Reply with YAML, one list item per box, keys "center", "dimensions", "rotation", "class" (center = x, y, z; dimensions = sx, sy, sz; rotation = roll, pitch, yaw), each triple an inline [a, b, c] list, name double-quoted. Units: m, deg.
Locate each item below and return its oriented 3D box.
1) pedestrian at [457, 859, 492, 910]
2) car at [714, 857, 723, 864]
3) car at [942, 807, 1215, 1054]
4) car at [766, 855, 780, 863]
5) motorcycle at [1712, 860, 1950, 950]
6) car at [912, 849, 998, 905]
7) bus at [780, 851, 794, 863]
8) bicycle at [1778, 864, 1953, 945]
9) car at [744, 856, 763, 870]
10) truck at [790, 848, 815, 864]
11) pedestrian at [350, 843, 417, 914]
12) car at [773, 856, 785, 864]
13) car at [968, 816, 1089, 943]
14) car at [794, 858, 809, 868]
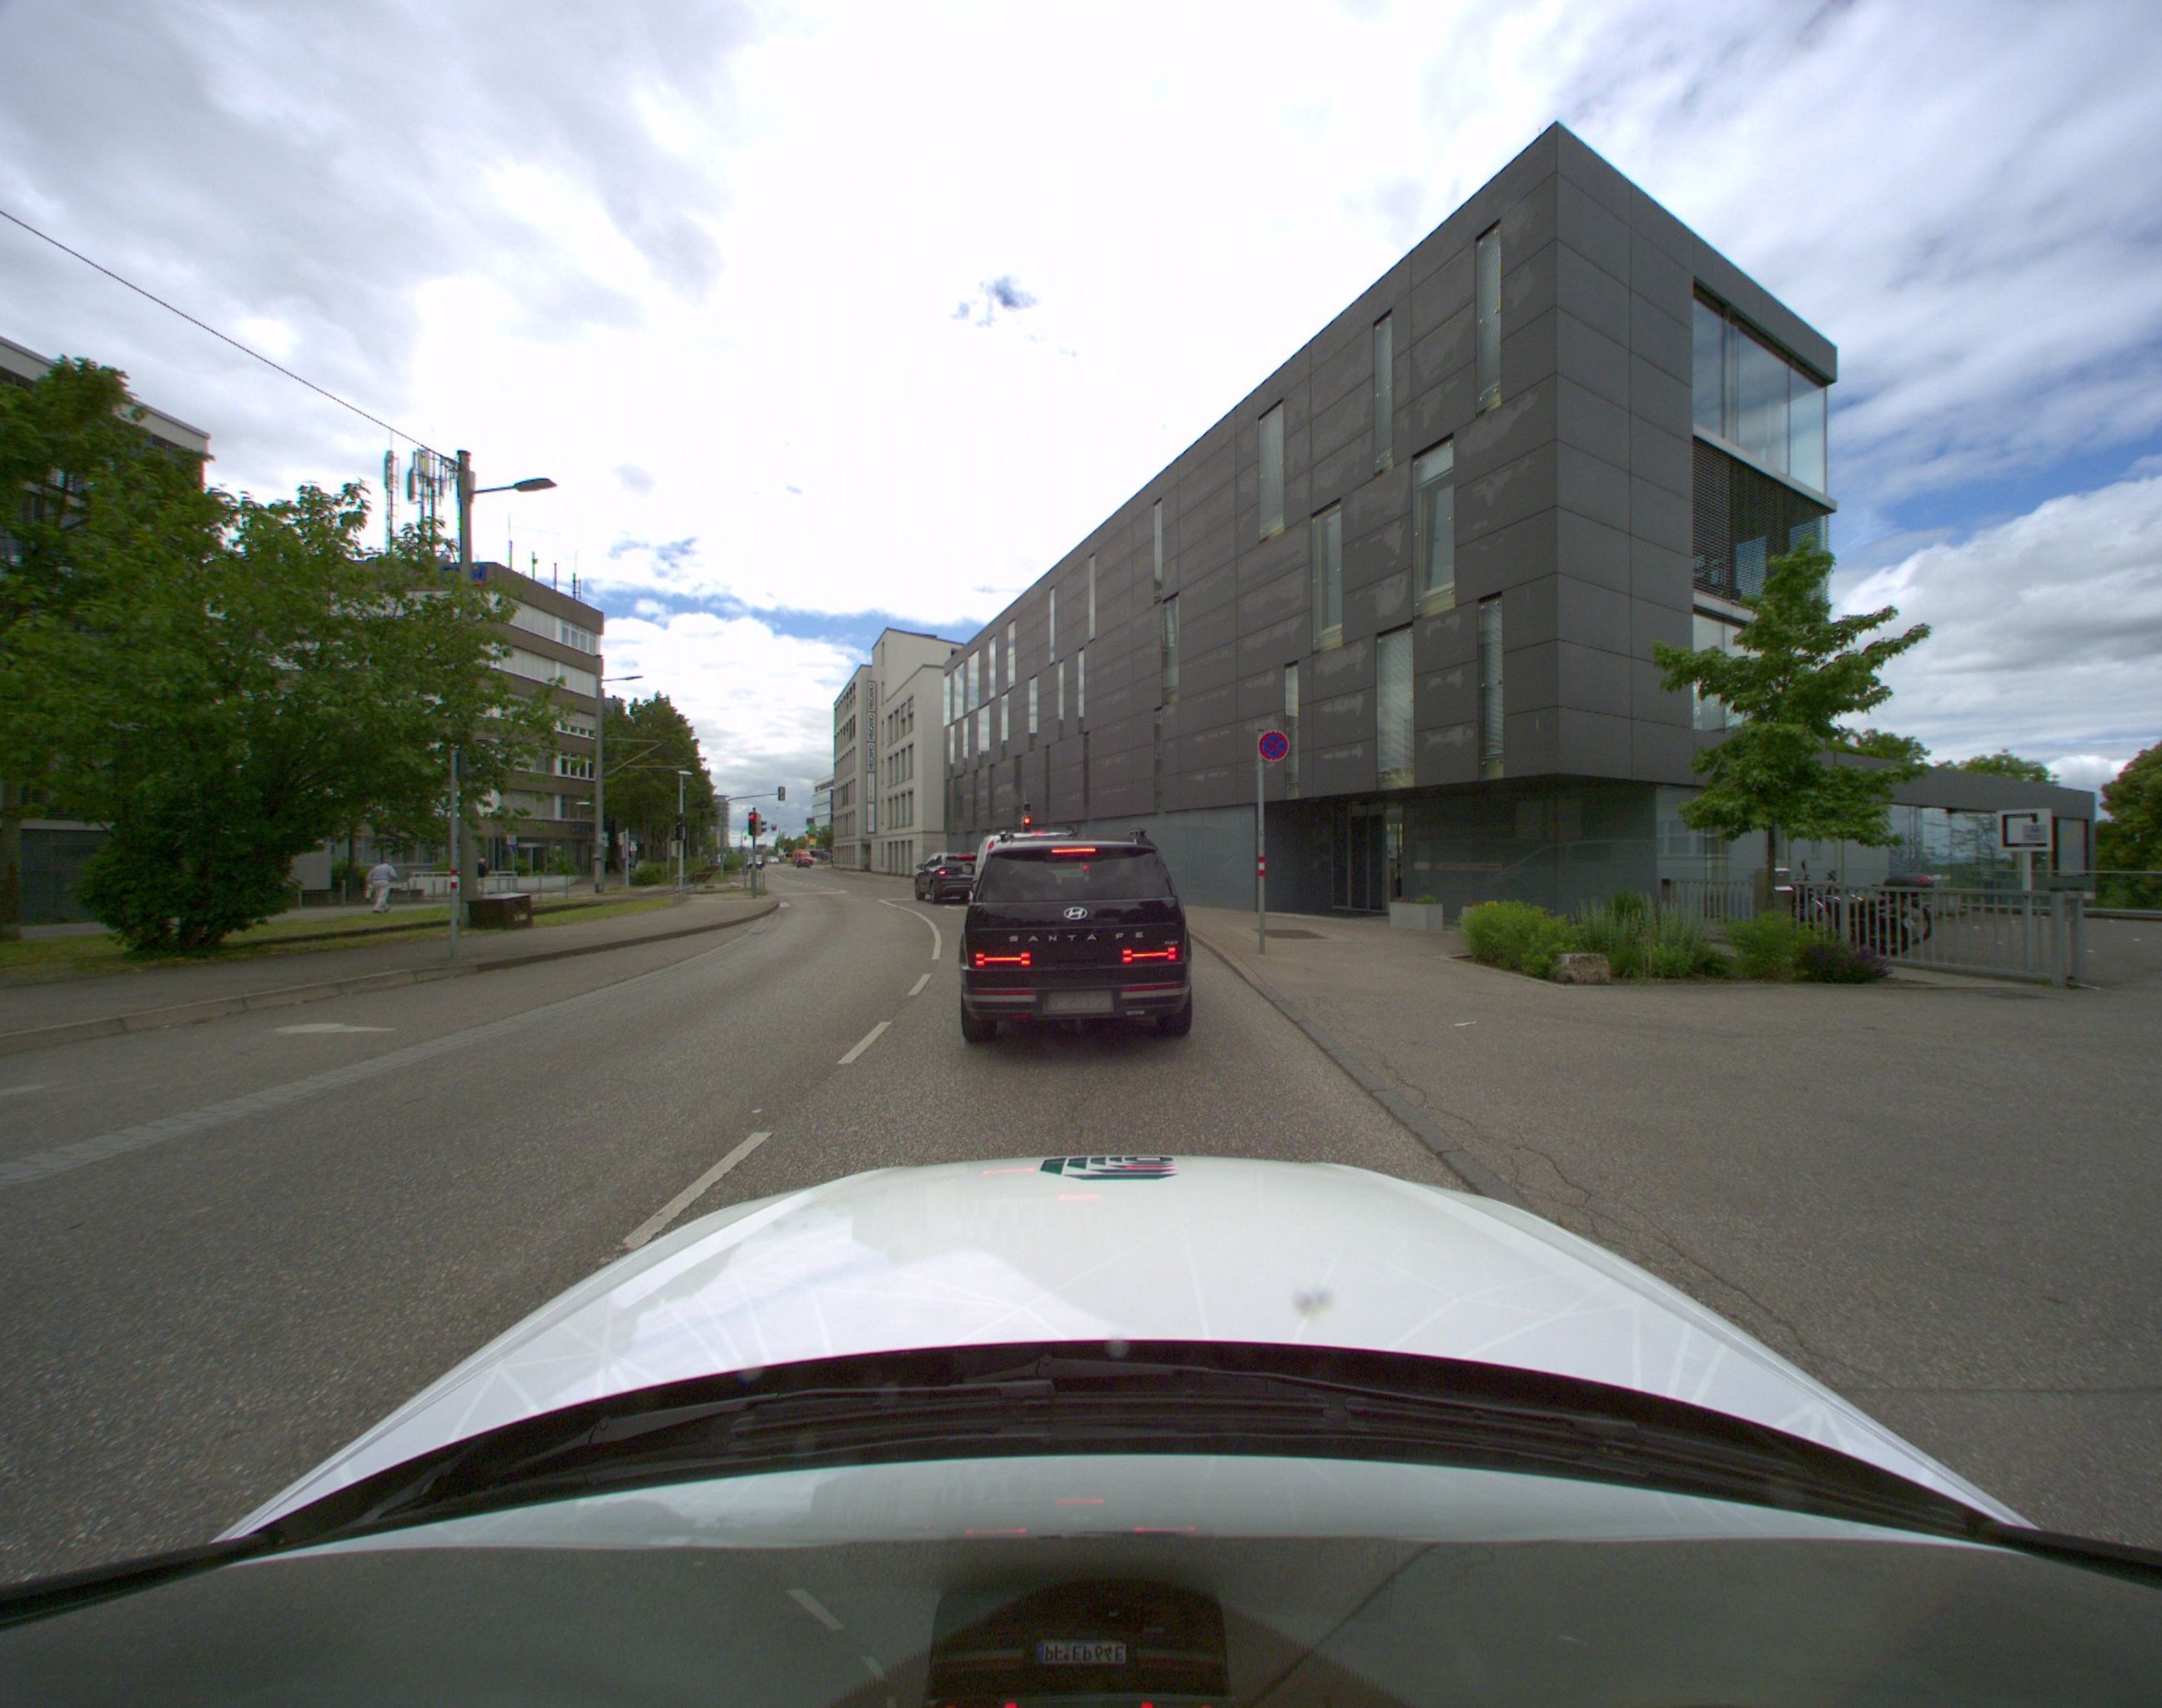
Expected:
- center: [-24.643, 1.218, 33.096]
  dimensions: [0.768, 2.014, 0.885]
  rotation: [3, -1, -17]
  class: "pedestrian"
- center: [-97.643, 1.758, 219.332]
  dimensions: [1.927, 1.725, 4.131]
  rotation: [1, 0, -30]
  class: "car"
- center: [-0.050, 0.552, 7.908]
  dimensions: [1.910, 1.725, 4.168]
  rotation: [1, 0, -1]
  class: "car"
- center: [-63.200, 1.021, 167.066]
  dimensions: [1.927, 1.725, 4.131]
  rotation: [1, 0, -30]
  class: "car"
- center: [11.804, 0.739, 12.976]
  dimensions: [0.850, 1.260, 2.672]
  rotation: [0, 0, -25]
  class: "motorcycle"
- center: [-4.310, 0.725, 27.274]
  dimensions: [1.856, 1.677, 4.342]
  rotation: [-1, 0, -23]
  class: "car"
- center: [-81.383, 0.799, 225.397]
  dimensions: [3.096, 2.928, 10.262]
  rotation: [1, 0, -24]
  class: "bus"
- center: [13.385, 0.821, 13.992]
  dimensions: [0.617, 1.260, 2.085]
  rotation: [0, 0, -25]
  class: "bicycle"
- center: [-40.126, 1.098, 99.745]
  dimensions: [1.861, 1.695, 3.966]
  rotation: [0, 0, -26]
  class: "car"
- center: [-51.044, 0.386, 149.391]
  dimensions: [2.592, 2.825, 6.915]
  rotation: [0, 0, -34]
  class: "truck"
- center: [-20.456, 0.704, 23.896]
  dimensions: [1.048, 2.014, 0.914]
  rotation: [2, -1, 2]
  class: "pedestrian"
- center: [-72.600, 1.444, 195.839]
  dimensions: [1.927, 1.725, 4.131]
  rotation: [1, 0, -30]
  class: "car"
- center: [-1.140, 0.390, 15.362]
  dimensions: [1.855, 2.033, 4.423]
  rotation: [-1, 0, -9]
  class: "car"
- center: [-41.435, 1.353, 120.895]
  dimensions: [1.903, 1.486, 3.978]
  rotation: [0, 0, -16]
  class: "car"
